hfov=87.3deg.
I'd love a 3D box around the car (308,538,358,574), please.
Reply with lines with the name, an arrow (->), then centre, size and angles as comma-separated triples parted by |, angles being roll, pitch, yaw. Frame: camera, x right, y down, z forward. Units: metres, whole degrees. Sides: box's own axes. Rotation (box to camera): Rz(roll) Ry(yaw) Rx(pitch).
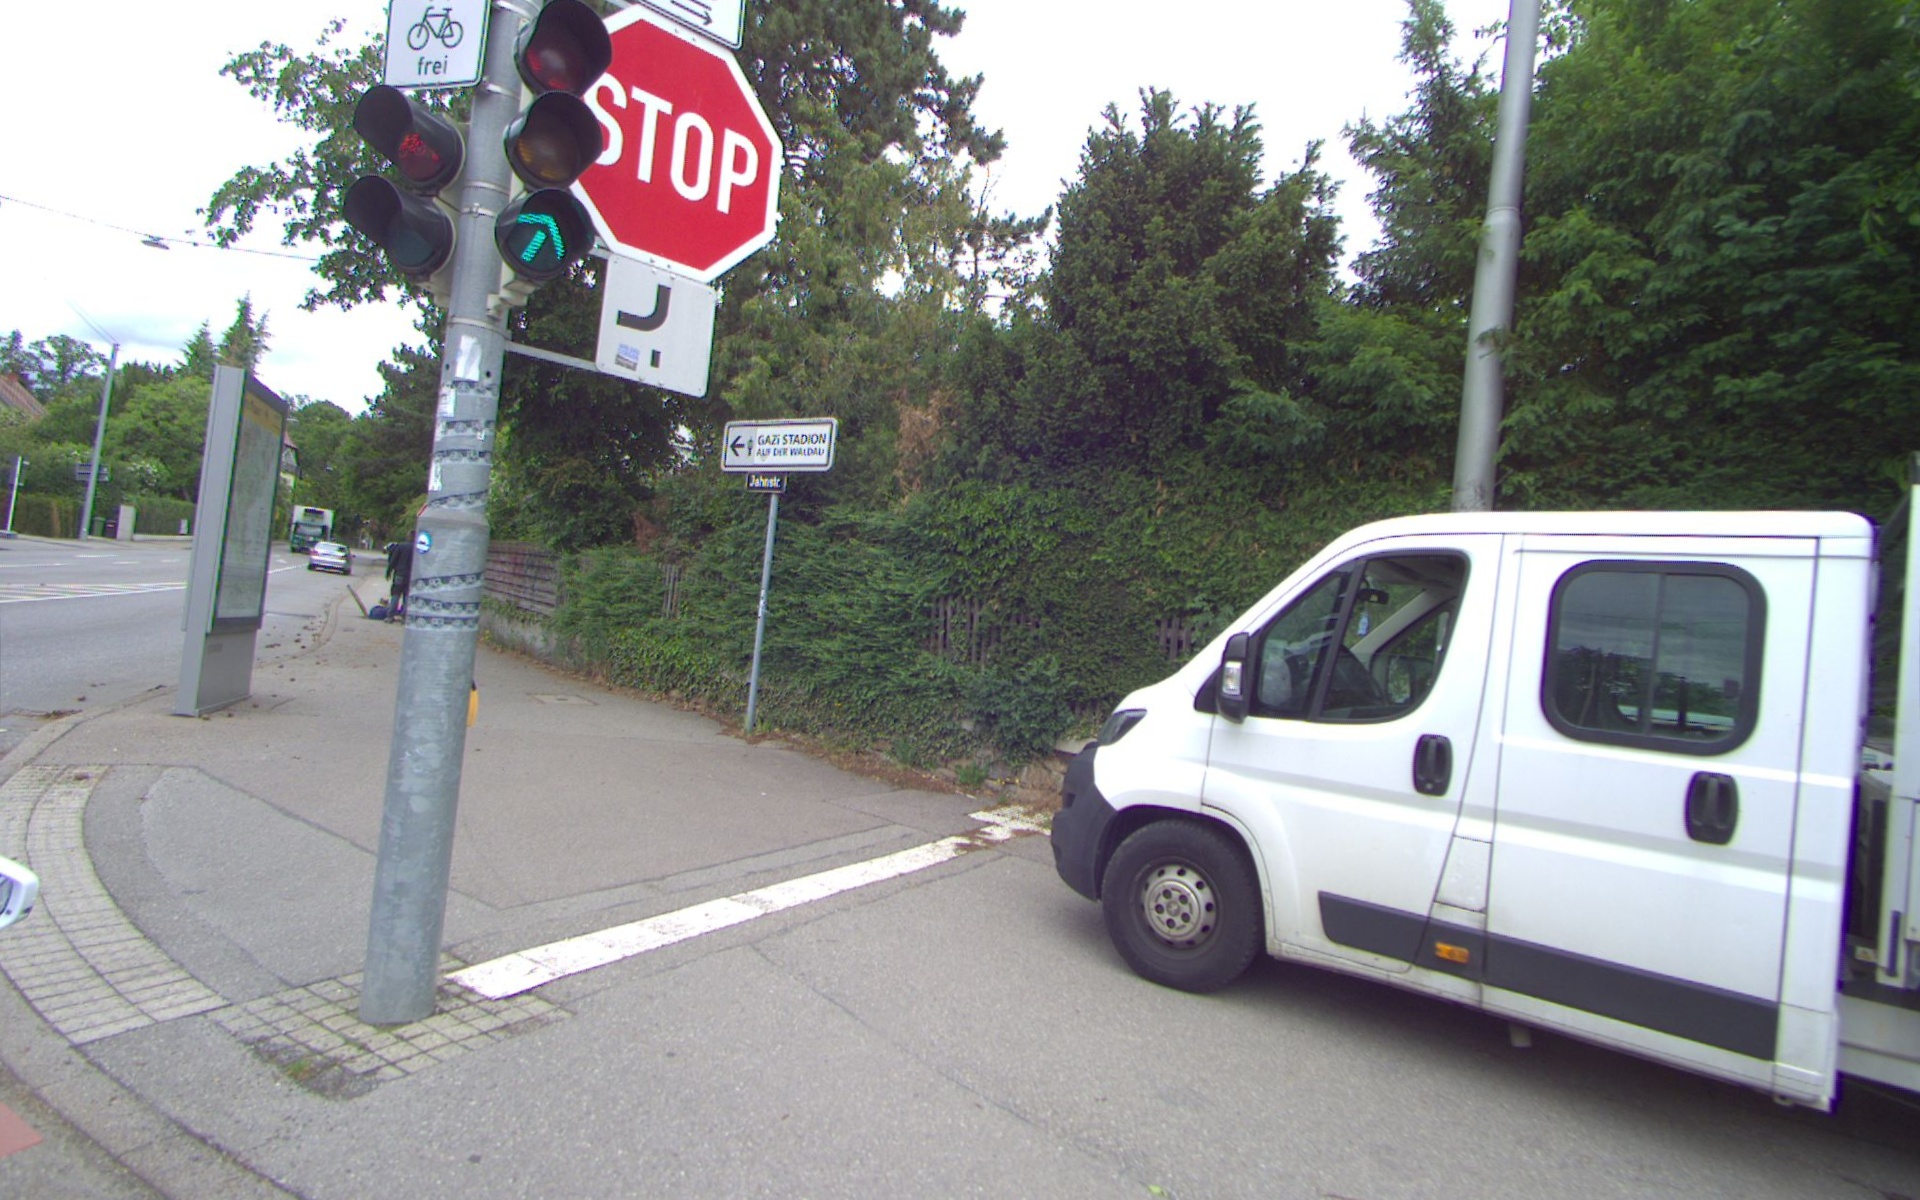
car -> -30.558, -2.121, 49.114 | 1.784, 1.431, 4.303 | 8, -2, -30

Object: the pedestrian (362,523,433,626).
pedestrian -> -11.414, -0.523, 20.405 | 0.790, 1.947, 0.845 | 7, 0, 40

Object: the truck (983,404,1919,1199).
truck -> 3.316, 0.722, 3.874 | 6.100, 2.380, 2.394 | 7, 0, 40

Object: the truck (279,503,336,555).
truck -> -51.073, -5.484, 78.643 | 2.765, 3.502, 7.416 | 7, -2, -38

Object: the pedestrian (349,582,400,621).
pedestrian -> -12.203, 0.035, 20.972 | 0.574, 0.705, 0.647 | 7, 0, 19
